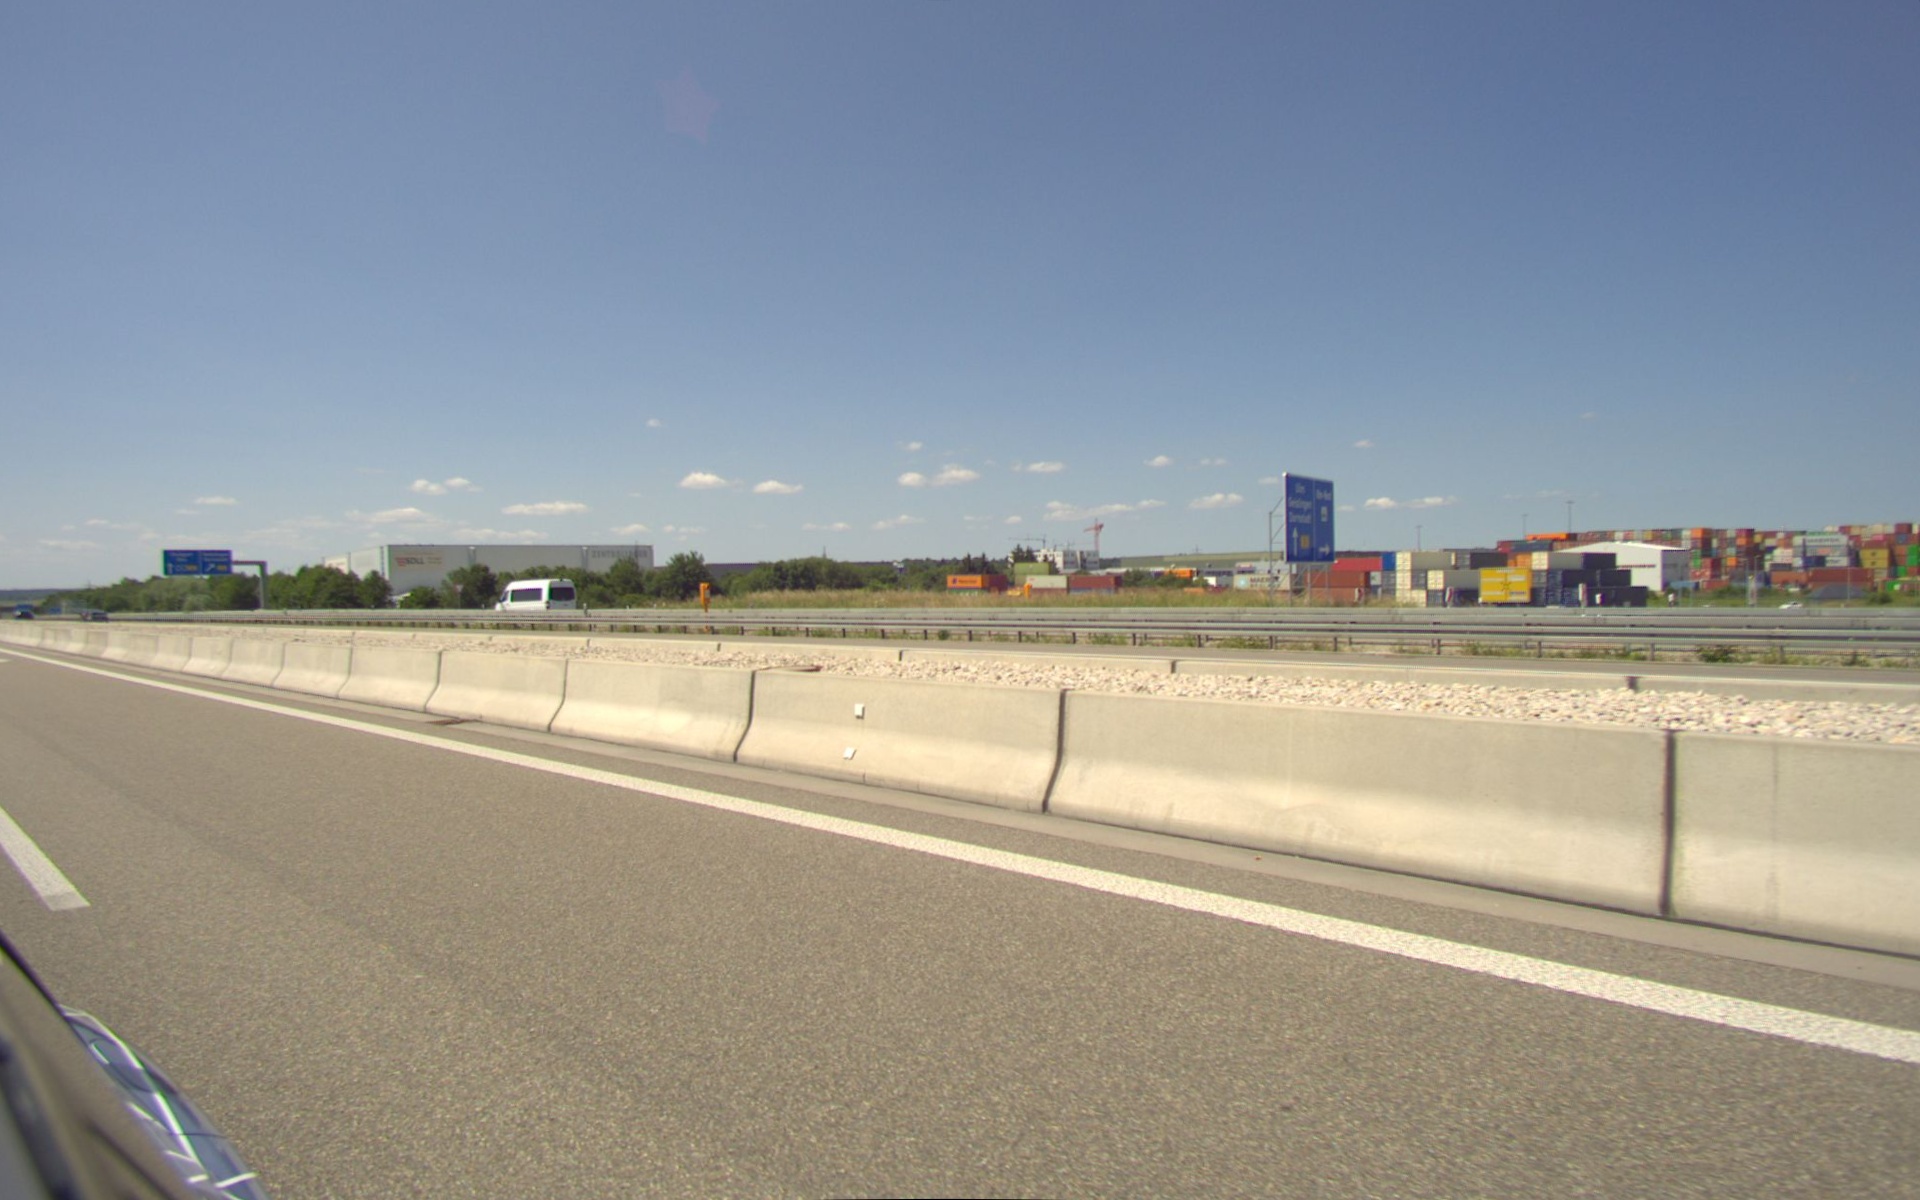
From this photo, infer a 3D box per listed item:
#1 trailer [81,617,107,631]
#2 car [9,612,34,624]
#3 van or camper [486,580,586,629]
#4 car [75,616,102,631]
[{"bbox_3d":[-93.501,2.610,109.238,3.683,1.446,1.737,-1,-1,42],"label":"trailer"},{"bbox_3d":[-117.354,2.267,126.516,4.371,1.484,2.009,-1,0,43],"label":"car"},{"bbox_3d":[-25.950,0.296,61.770,7.537,2.843,2.520,-1,0,41],"label":"van or camper"},{"bbox_3d":[-96.370,2.607,111.849,3.999,1.561,1.773,-1,0,42],"label":"car"}]
